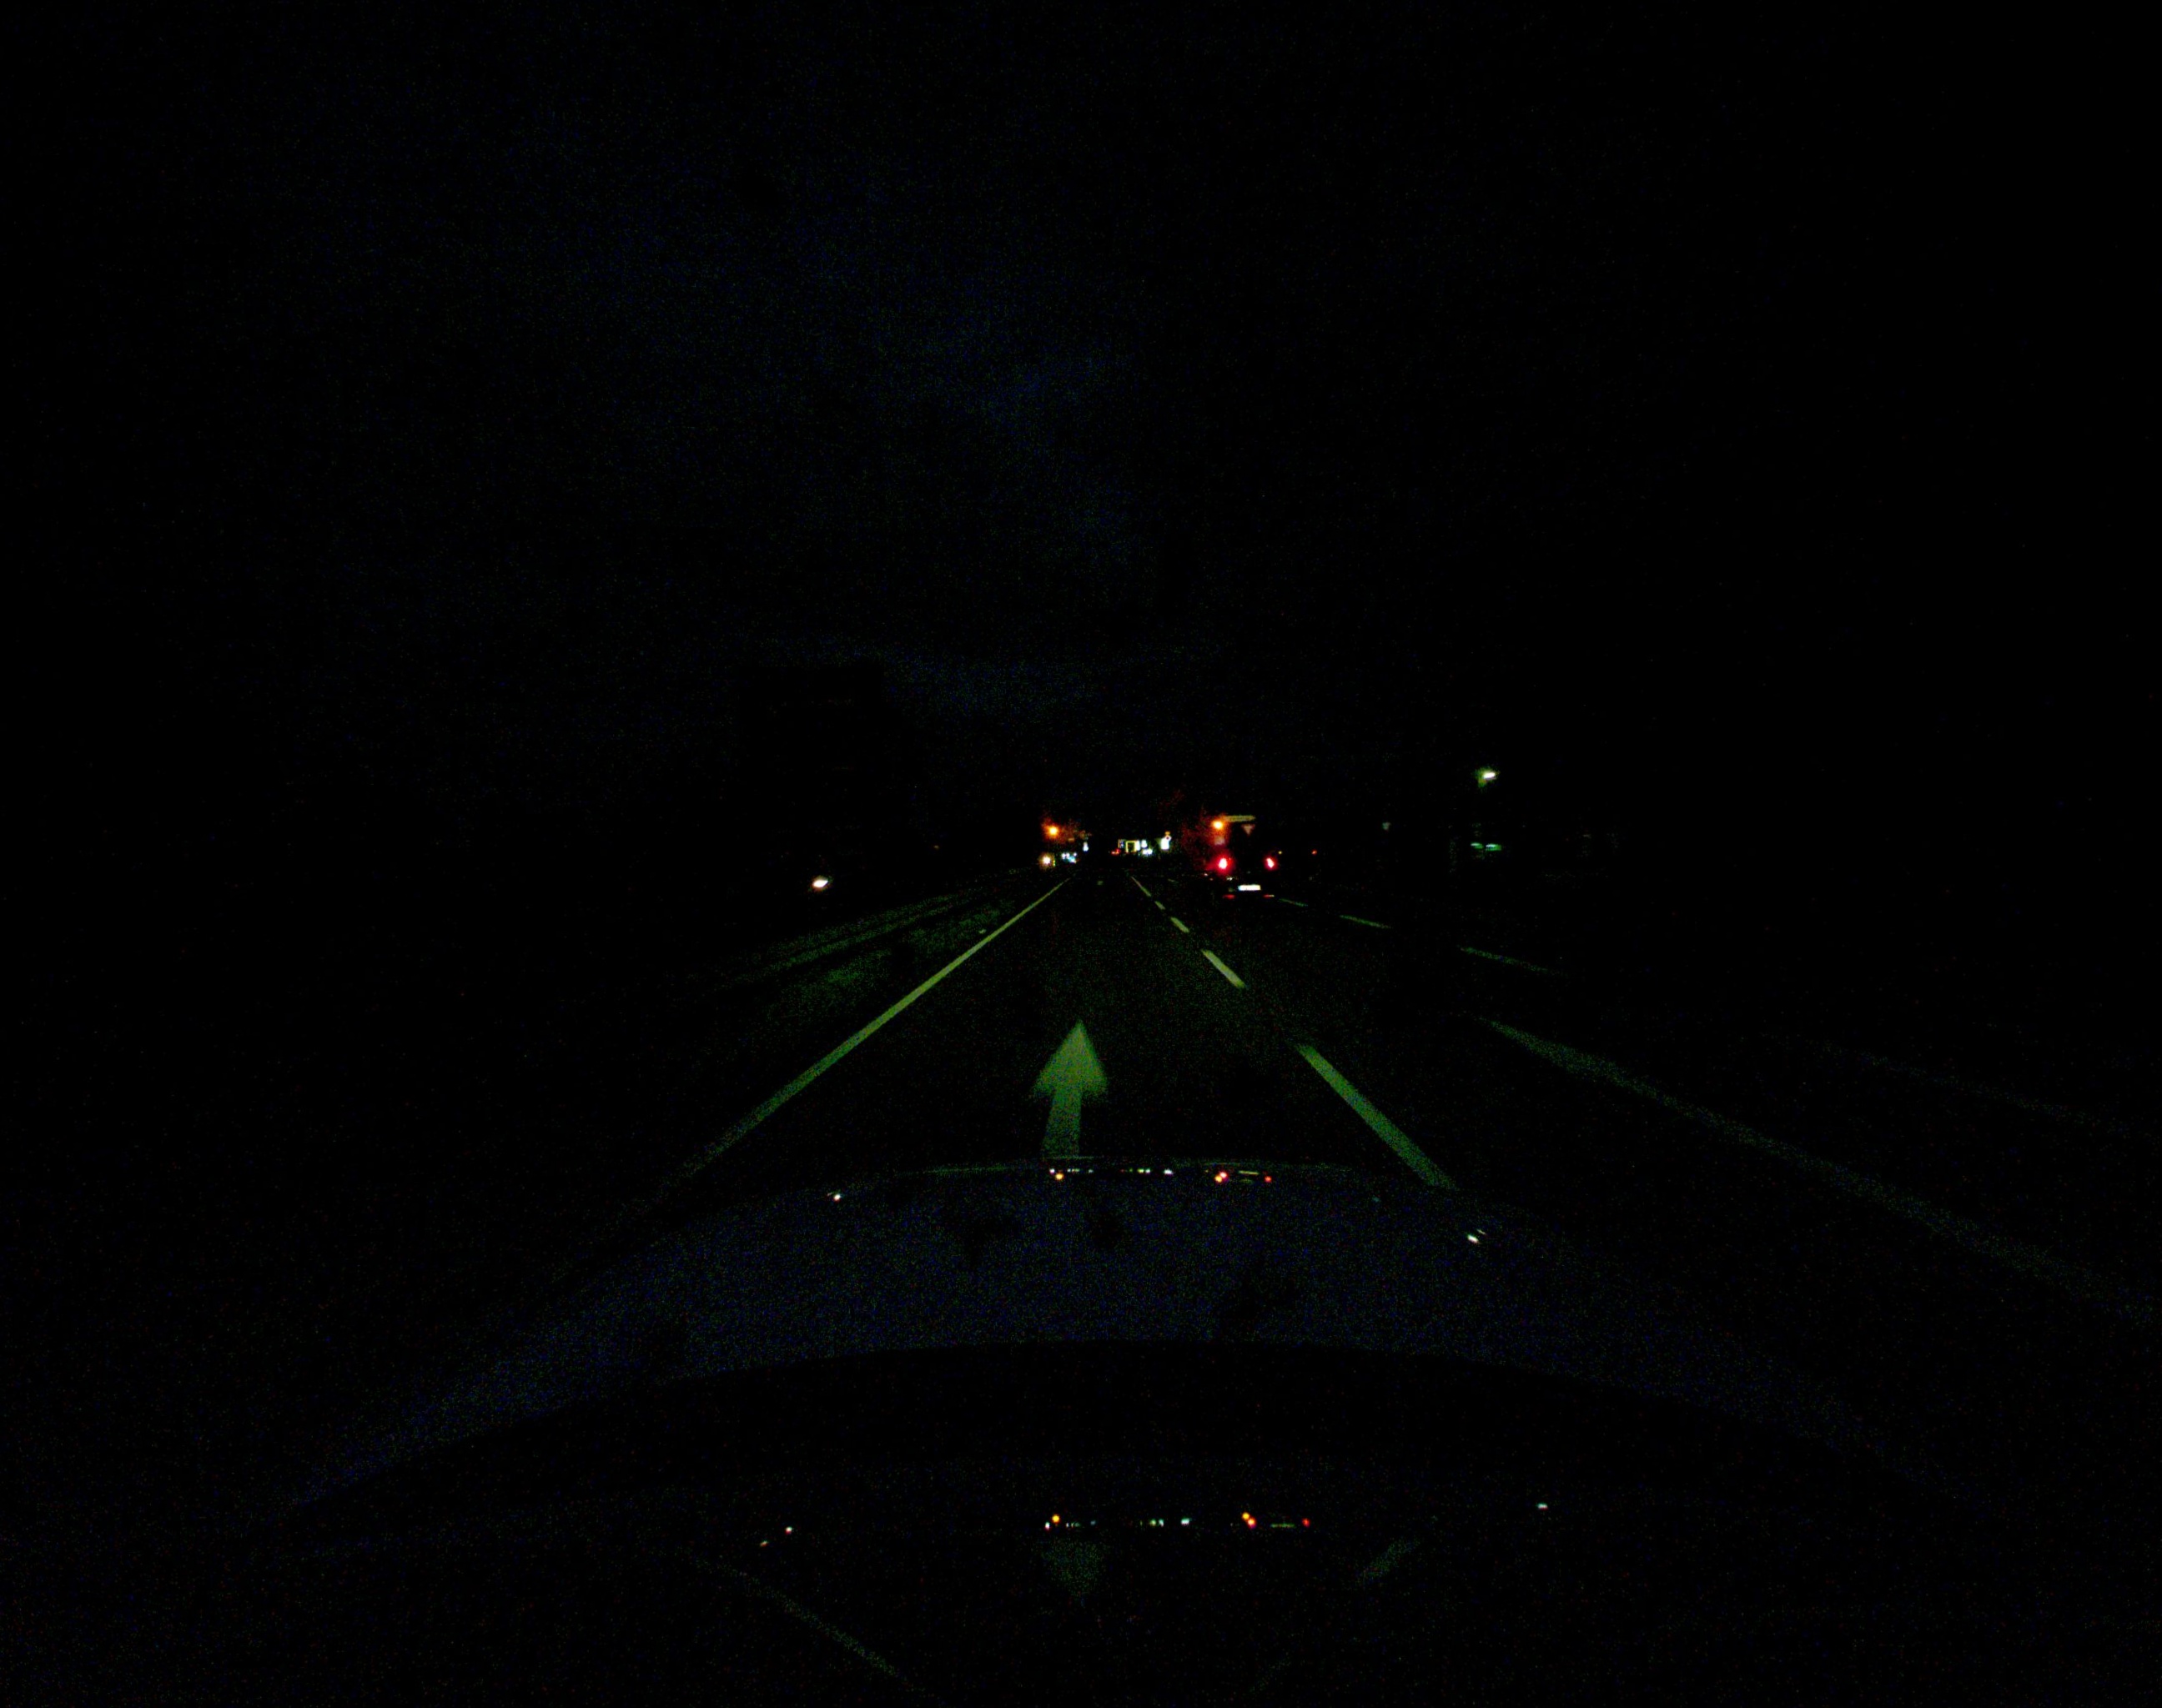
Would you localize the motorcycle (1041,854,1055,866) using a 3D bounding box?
[{"bbox_3d":[-3.297,0.592,81.795,0.974,1.098,2.513,-3,0,7],"label":"motorcycle"}]

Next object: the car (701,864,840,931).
[{"bbox_3d":[-8.088,1.071,21.724,1.915,1.431,4.500,-3,0,-1],"label":"car"}]

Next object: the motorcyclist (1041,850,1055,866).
[{"bbox_3d":[-3.325,0.382,81.785,1.131,1.584,0.974,-3,0,6],"label":"motorcyclist"}]

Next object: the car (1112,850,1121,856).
[{"bbox_3d":[10.341,-0.403,237.517,2.266,1.632,4.000,-3,0,1],"label":"car"}]

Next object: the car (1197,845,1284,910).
[{"bbox_3d":[4.107,0.556,21.551,1.663,1.520,4.109,-1,0,3],"label":"car"}]

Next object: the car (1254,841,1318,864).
[{"bbox_3d":[16.373,-0.114,65.176,4.583,1.520,2.001,-3,0,1],"label":"car"}]

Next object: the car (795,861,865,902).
[{"bbox_3d":[-11.479,1.229,37.507,1.789,1.671,4.500,-2,0,-1],"label":"car"}]
